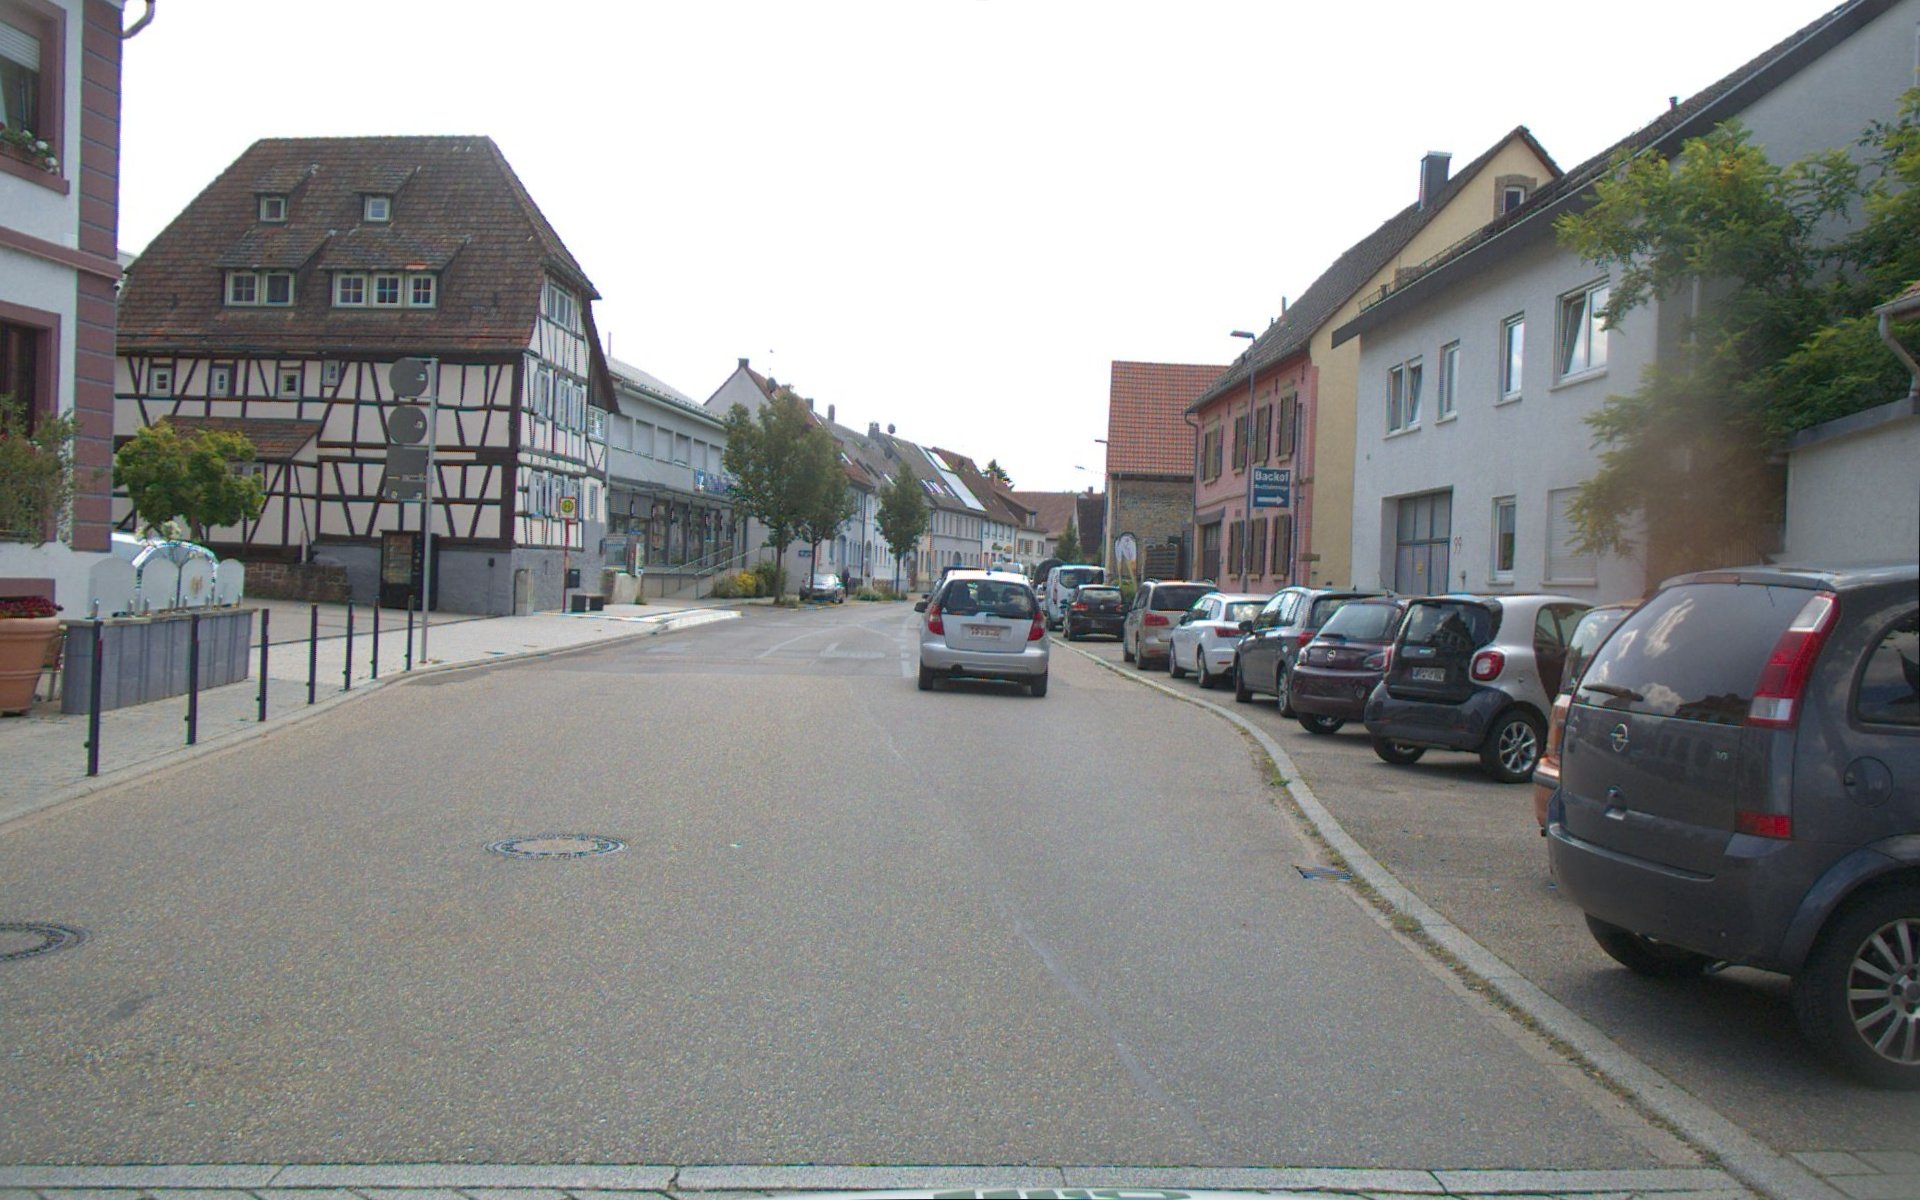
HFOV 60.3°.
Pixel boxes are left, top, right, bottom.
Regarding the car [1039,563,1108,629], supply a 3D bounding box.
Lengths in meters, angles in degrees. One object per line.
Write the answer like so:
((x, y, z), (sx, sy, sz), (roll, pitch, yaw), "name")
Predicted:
((3.601, -0.148, 53.212), (1.853, 2.016, 4.931), (0, 1, 0), "car")

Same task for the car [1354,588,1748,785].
((5.171, 0.710, 14.576), (2.742, 1.531, 1.864), (1, 1, -24), "car")

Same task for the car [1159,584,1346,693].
((4.633, 0.557, 26.841), (1.954, 1.544, 4.368), (2, 1, -4), "car")

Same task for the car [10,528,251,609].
((-18.471, -0.707, 36.953), (4.335, 1.412, 1.965), (5, 1, 4), "car")

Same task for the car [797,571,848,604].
((-6.669, -0.617, 80.666), (1.766, 1.486, 4.161), (3, 1, 5), "car")

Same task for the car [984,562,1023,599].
((2.788, -1.223, 104.650), (2.189, 2.261, 4.002), (1, 0, 4), "car")

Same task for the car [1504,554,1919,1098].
((4.151, 0.658, 5.931), (3.772, 1.605, 1.849), (0, 1, -4), "car")

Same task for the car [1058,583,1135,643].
((3.691, 0.321, 45.420), (1.738, 1.521, 4.162), (2, 1, 0), "car")

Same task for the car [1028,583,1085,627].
((3.644, 0.160, 62.863), (1.837, 1.507, 4.675), (3, 1, 0), "car")

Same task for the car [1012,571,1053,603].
((3.812, -0.700, 87.288), (1.953, 1.586, 4.000), (0, 1, -1), "car")

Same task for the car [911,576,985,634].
((-0.340, 0.100, 45.369), (1.905, 1.432, 4.000), (2, 1, -1), "car")

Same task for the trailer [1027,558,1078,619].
((3.779, -0.503, 68.067), (1.807, 2.395, 3.589), (1, 1, -1), "trailer")

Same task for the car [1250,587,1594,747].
((4.937, 0.672, 17.671), (3.191, 1.531, 1.809), (1, 1, -29), "car")

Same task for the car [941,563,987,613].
((0.184, -0.492, 69.097), (1.733, 1.920, 4.447), (4, 0, 1), "car")

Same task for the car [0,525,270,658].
((-11.488, -0.138, 23.021), (1.722, 1.518, 4.277), (6, 1, 2), "car")

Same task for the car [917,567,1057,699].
((0.316, 0.409, 23.271), (1.733, 1.622, 3.999), (3, 0, -1), "car")

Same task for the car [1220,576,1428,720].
((4.605, 0.531, 21.514), (1.629, 1.652, 4.271), (2, 1, -1), "car")

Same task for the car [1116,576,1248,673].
((4.226, 0.411, 32.165), (1.953, 1.710, 4.323), (2, 1, 0), "car")

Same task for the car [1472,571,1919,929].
((4.628, 0.714, 8.599), (3.317, 1.605, 1.721), (2, 0, -12), "car")

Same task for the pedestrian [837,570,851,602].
((-6.581, -0.791, 93.915), (0.723, 1.833, 0.642), (1, 0, 1), "pedestrian")
